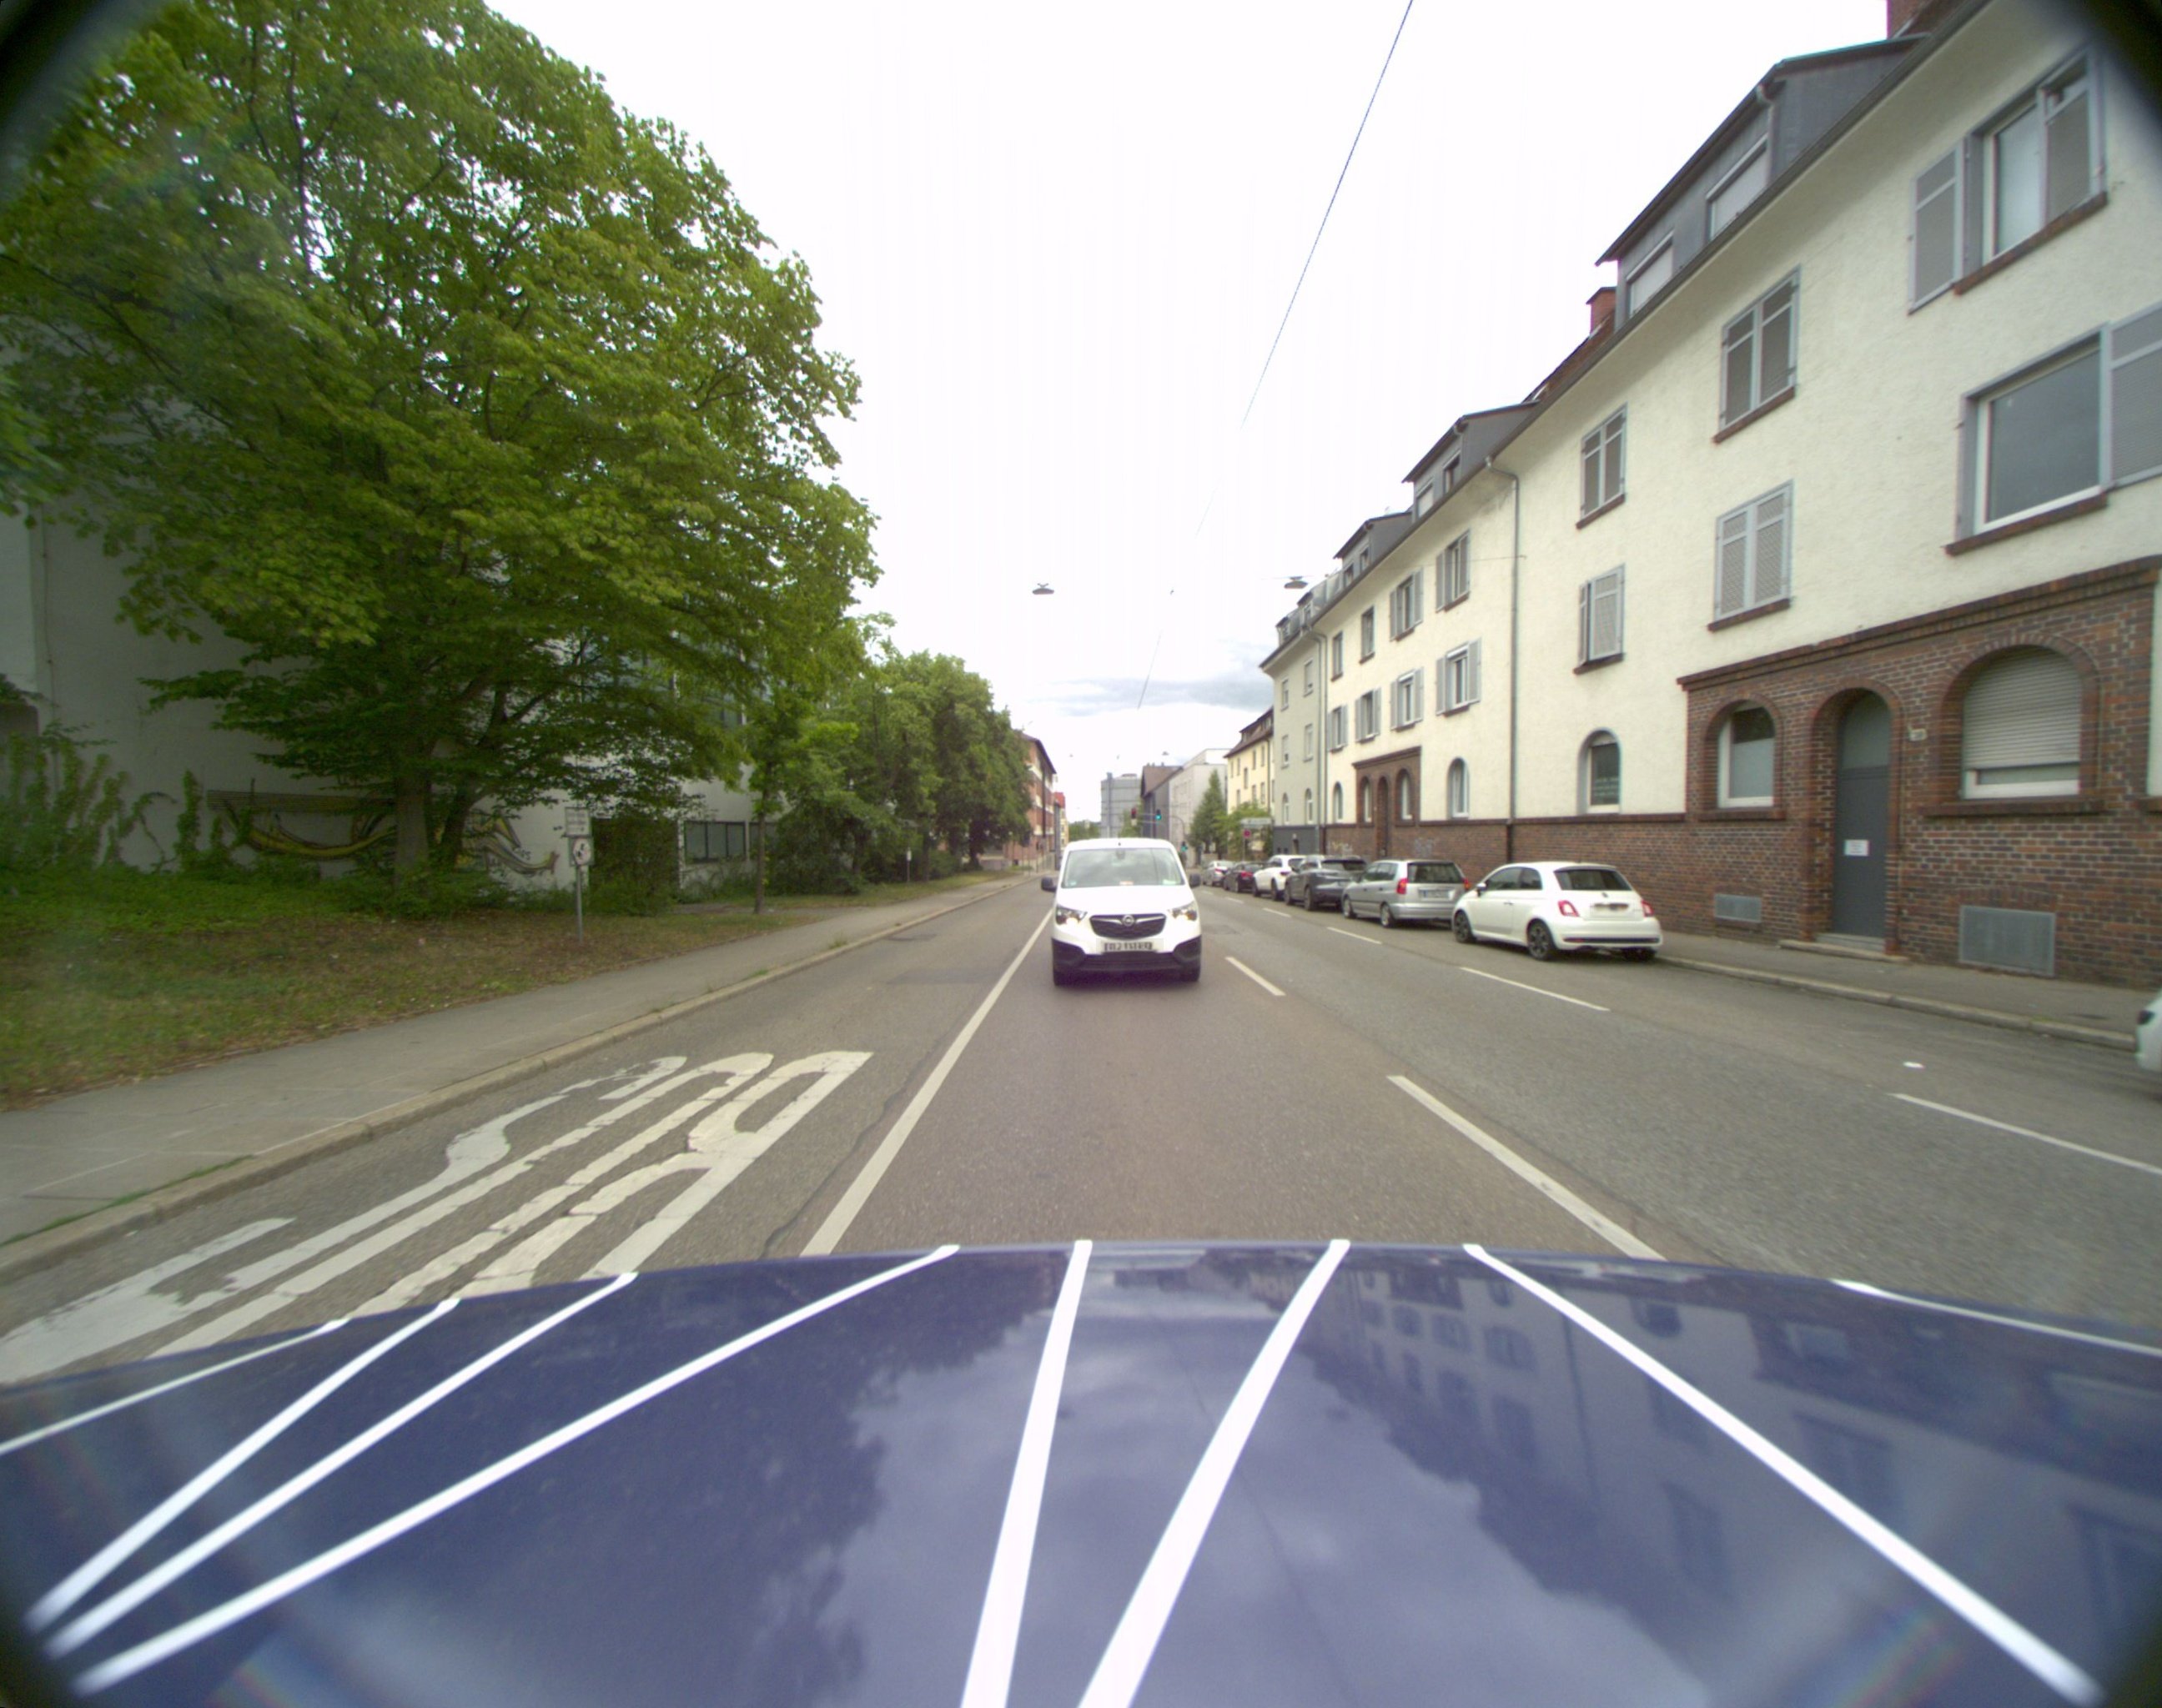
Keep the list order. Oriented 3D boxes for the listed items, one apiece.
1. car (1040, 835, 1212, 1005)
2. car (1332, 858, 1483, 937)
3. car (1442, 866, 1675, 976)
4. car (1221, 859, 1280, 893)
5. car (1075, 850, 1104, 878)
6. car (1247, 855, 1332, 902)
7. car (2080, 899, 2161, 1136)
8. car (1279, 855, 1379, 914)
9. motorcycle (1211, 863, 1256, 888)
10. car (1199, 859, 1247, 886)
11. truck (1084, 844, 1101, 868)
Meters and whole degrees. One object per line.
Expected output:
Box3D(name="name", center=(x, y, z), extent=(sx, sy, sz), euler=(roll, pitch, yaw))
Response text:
Box3D(name="car", center=(0.537, 0.774, 10.477), extent=(1.850, 1.831, 4.285), euler=(-1, -1, 1))
Box3D(name="car", center=(7.392, 0.902, 17.686), extent=(1.731, 1.549, 4.081), euler=(2, 0, 0))
Box3D(name="car", center=(7.508, 0.965, 12.396), extent=(1.551, 1.466, 3.604), euler=(0, 0, 0))
Box3D(name="car", center=(7.530, 0.944, 34.086), extent=(1.731, 1.421, 4.192), euler=(0, 0, 0))
Box3D(name="car", center=(0.607, 0.645, 52.978), extent=(1.850, 1.832, 4.284), euler=(-1, 0, 1))
Box3D(name="car", center=(7.579, 0.843, 28.040), extent=(1.850, 1.612, 4.643), euler=(0, 0, 0))
Box3D(name="car", center=(7.341, 0.998, 3.144), extent=(1.623, 1.417, 3.665), euler=(0, 0, 1))
Box3D(name="car", center=(7.265, 0.834, 22.729), extent=(1.731, 1.590, 4.502), euler=(0, 0, 3))
Box3D(name="motorcycle", center=(7.617, 1.072, 38.038), extent=(2.048, 1.228, 0.806), euler=(2, 0, -17))
Box3D(name="car", center=(7.653, 0.955, 41.300), extent=(1.731, 1.366, 4.337), euler=(0, 0, -1))
Box3D(name="truck", center=(1.781, 0.312, 118.127), extent=(2.545, 3.478, 8.521), euler=(0, 0, 1))
